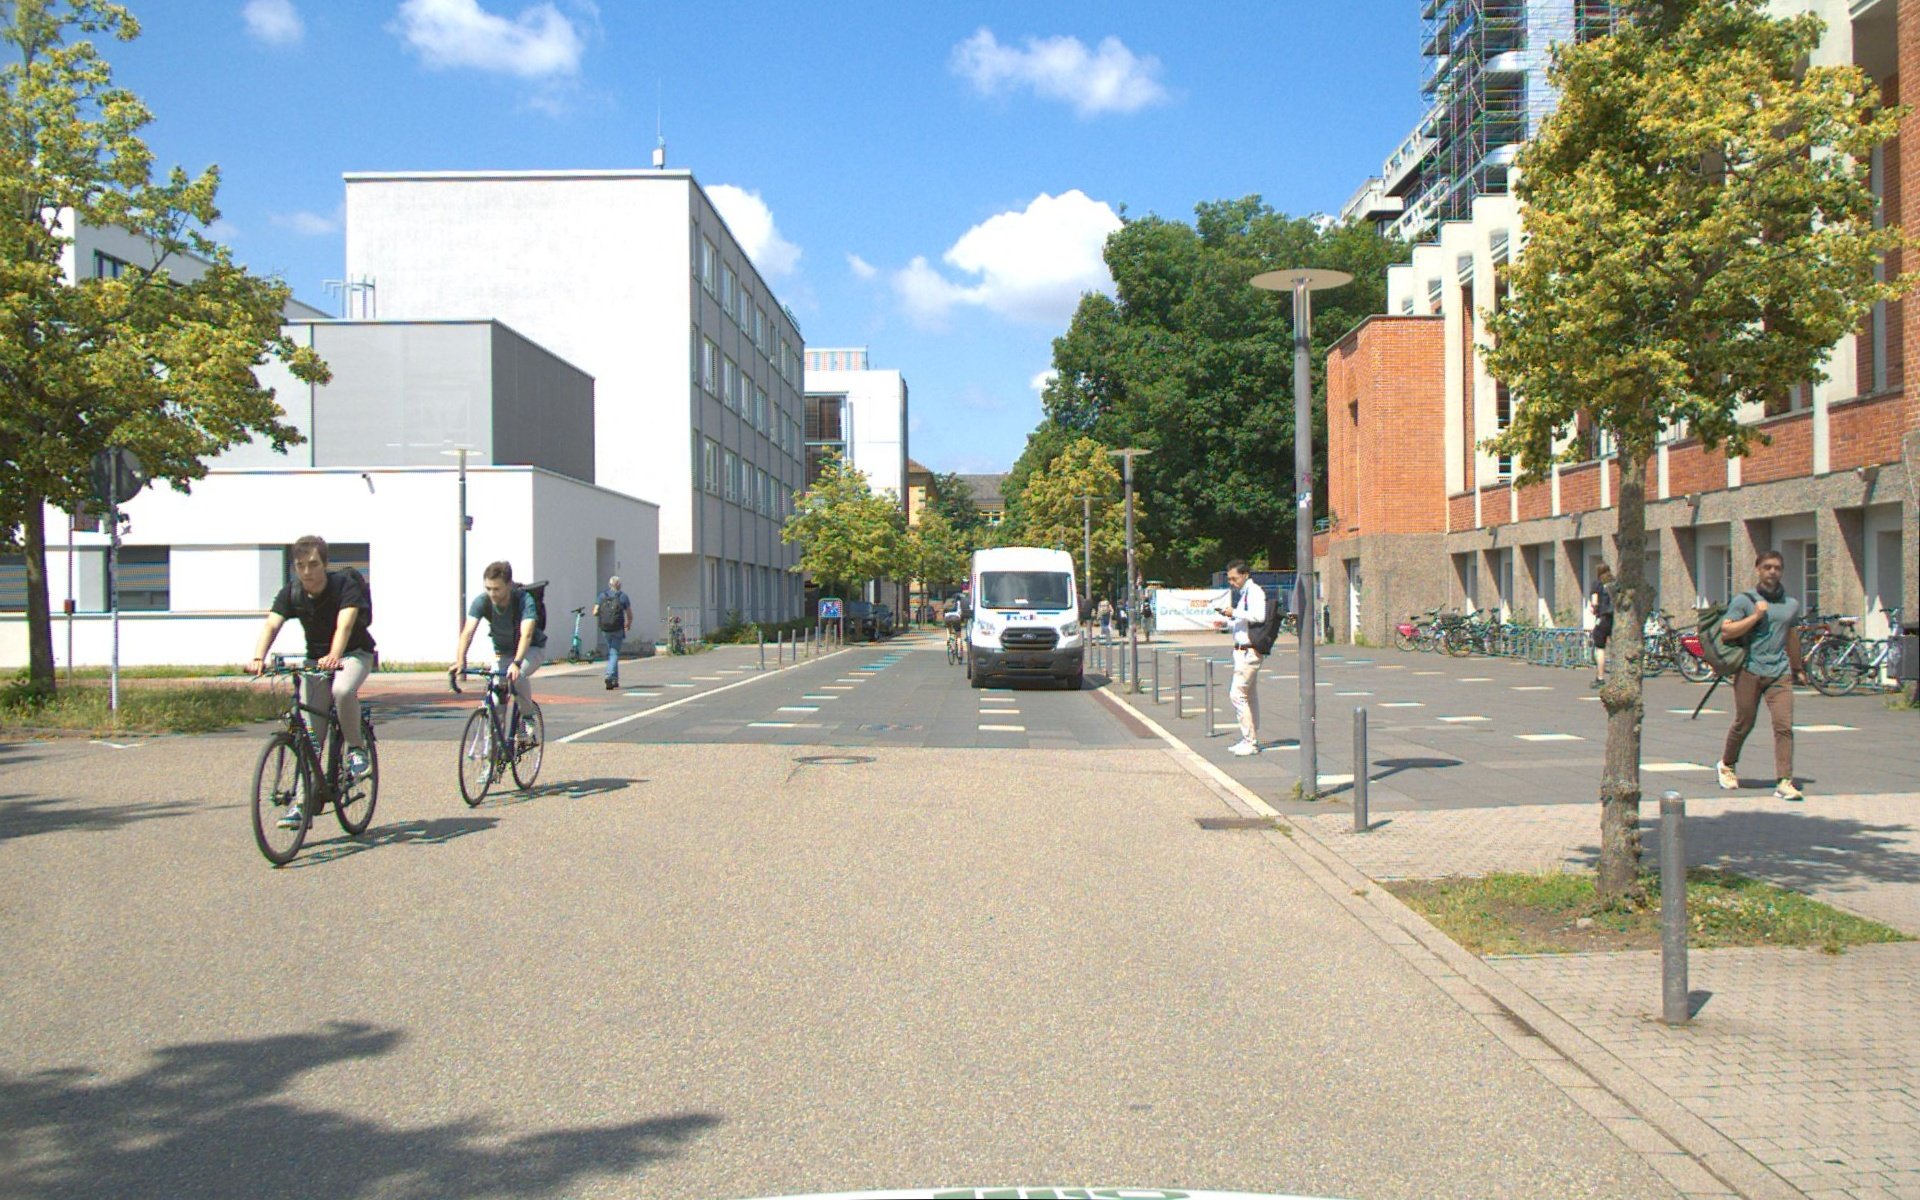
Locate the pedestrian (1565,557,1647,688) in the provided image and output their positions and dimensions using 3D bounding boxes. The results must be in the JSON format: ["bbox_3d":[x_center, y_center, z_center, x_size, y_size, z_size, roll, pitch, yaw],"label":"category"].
[{"bbox_3d":[9.599,0.322,24.608,0.773,1.892,1.116,-1,0,2],"label":"pedestrian"}]

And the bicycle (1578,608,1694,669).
[{"bbox_3d":[11.897,0.672,29.138,1.772,1.002,0.560,-2,0,0],"label":"bicycle"}]

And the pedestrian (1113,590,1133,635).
[{"bbox_3d":[6.819,0.520,69.227,0.773,1.892,1.026,-1,0,2],"label":"pedestrian"}]

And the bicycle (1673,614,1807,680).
[{"bbox_3d":[11.977,0.714,25.413,1.772,0.928,0.560,-2,0,0],"label":"bicycle"}]

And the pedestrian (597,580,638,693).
[{"bbox_3d":[-5.610,0.594,27.090,0.655,1.817,0.982,0,-2,-12],"label":"pedestrian"}]

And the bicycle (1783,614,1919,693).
[{"bbox_3d":[11.920,0.698,21.903,1.754,0.986,0.560,-2,0,0],"label":"bicycle"}]

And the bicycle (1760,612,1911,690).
[{"bbox_3d":[11.920,0.686,22.548,1.747,0.995,0.560,-2,0,-1],"label":"bicycle"}]

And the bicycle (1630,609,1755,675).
[{"bbox_3d":[12.022,0.681,27.177,1.772,1.002,0.560,-2,0,0],"label":"bicycle"}]

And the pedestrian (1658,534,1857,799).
[{"bbox_3d":[5.635,0.451,11.762,0.835,1.763,1.161,-2,0,4],"label":"pedestrian"}]

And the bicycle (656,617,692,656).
[{"bbox_3d":[-7.740,0.971,44.771,0.512,1.002,1.633,-2,0,5],"label":"bicycle"}]

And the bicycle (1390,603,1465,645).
[{"bbox_3d":[12.168,0.617,43.078,1.772,1.002,0.560,-2,0,0],"label":"bicycle"}]

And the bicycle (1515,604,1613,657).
[{"bbox_3d":[12.315,0.615,33.752,1.772,1.002,0.560,-2,0,0],"label":"bicycle"}]

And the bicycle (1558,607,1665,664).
[{"bbox_3d":[12.292,0.665,31.219,1.772,1.002,0.560,-2,0,0],"label":"bicycle"}]

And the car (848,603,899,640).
[{"bbox_3d":[-3.851,0.952,74.326,1.757,1.557,4.002,-1,0,5],"label":"car"}]

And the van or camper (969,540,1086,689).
[{"bbox_3d":[1.189,0.275,30.135,1.952,2.488,4.570,-1,-1,1],"label":"van or camper"}]

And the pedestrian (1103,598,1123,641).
[{"bbox_3d":[6.786,0.852,73.337,0.773,1.892,1.026,-1,0,2],"label":"pedestrian"}]

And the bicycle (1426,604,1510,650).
[{"bbox_3d":[11.994,0.638,39.073,1.772,1.002,0.560,-2,0,0],"label":"bicycle"}]

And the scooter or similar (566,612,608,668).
[{"bbox_3d":[-8.461,0.895,37.513,0.369,1.237,1.206,-1,0,17],"label":"scooter or similar"}]

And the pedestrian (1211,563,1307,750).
[{"bbox_3d":[2.901,0.541,16.118,0.688,1.724,0.962,-3,-1,1],"label":"pedestrian"}]

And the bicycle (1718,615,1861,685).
[{"bbox_3d":[12.024,0.719,24.009,1.772,0.928,0.560,-2,0,0],"label":"bicycle"}]

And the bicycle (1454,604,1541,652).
[{"bbox_3d":[12.180,0.633,37.512,1.772,1.002,0.560,-2,0,0],"label":"bicycle"}]

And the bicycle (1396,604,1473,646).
[{"bbox_3d":[12.084,0.626,42.116,1.772,1.002,0.560,-2,0,0],"label":"bicycle"}]

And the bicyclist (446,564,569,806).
[{"bbox_3d":[-3.310,0.592,12.178,0.654,1.711,0.992,0,1,-2],"label":"bicyclist"}]

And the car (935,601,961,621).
[{"bbox_3d":[-0.941,0.860,133.079,1.757,1.557,4.002,-1,0,5],"label":"car"}]

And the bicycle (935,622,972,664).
[{"bbox_3d":[-0.147,1.080,41.086,0.691,1.011,1.912,-1,-2,7],"label":"bicycle"}]

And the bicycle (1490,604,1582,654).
[{"bbox_3d":[12.460,0.628,35.817,1.772,1.002,0.560,-2,0,0],"label":"bicycle"}]

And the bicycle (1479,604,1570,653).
[{"bbox_3d":[12.386,0.621,36.314,1.772,1.002,0.560,-2,0,0],"label":"bicycle"}]

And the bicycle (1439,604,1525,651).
[{"bbox_3d":[12.070,0.634,38.244,1.772,1.002,0.560,-2,0,0],"label":"bicycle"}]

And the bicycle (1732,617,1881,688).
[{"bbox_3d":[11.835,0.729,23.154,1.772,0.928,0.560,-2,0,0],"label":"bicycle"}]

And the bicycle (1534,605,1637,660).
[{"bbox_3d":[12.289,0.635,32.515,1.772,1.002,0.560,-2,0,0],"label":"bicycle"}]

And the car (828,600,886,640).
[{"bbox_3d":[-4.123,0.792,66.881,1.757,1.557,4.002,-1,0,5],"label":"car"}]

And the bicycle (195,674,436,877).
[{"bbox_3d":[-3.707,0.967,9.703,0.663,0.981,2.002,0,0,-1],"label":"bicycle"}]

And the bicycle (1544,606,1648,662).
[{"bbox_3d":[12.267,0.649,31.928,1.772,1.002,0.560,-2,0,0],"label":"bicycle"}]

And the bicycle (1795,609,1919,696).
[{"bbox_3d":[11.620,0.669,21.223,1.503,1.051,0.560,-2,0,0],"label":"bicycle"}]

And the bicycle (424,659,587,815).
[{"bbox_3d":[-3.317,0.968,12.244,0.663,0.981,2.002,1,0,-1],"label":"bicycle"}]

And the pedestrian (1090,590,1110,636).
[{"bbox_3d":[5.887,0.546,69.609,0.773,1.892,1.243,-1,0,2],"label":"pedestrian"}]

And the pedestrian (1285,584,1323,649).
[{"bbox_3d":[10.245,0.482,49.257,0.834,1.892,1.116,-1,0,-1],"label":"pedestrian"}]

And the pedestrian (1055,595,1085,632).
[{"bbox_3d":[6.362,0.786,95.988,1.469,2.031,1.646,-4,1,-1],"label":"pedestrian"}]

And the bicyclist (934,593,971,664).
[{"bbox_3d":[-0.172,0.718,40.962,0.702,1.691,1.096,-3,-2,7],"label":"bicyclist"}]

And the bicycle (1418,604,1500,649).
[{"bbox_3d":[11.985,0.636,39.779,1.772,1.002,0.560,-2,0,0],"label":"bicycle"}]

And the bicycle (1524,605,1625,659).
[{"bbox_3d":[12.313,0.628,33.157,1.772,1.002,0.560,-2,0,0],"label":"bicycle"}]

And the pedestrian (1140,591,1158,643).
[{"bbox_3d":[6.994,0.619,61.150,0.564,1.892,0.569,-1,0,-1],"label":"pedestrian"}]

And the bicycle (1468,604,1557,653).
[{"bbox_3d":[12.314,0.632,36.903,1.772,1.002,0.560,-2,0,0],"label":"bicycle"}]

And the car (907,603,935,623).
[{"bbox_3d":[-3.140,1.002,133.298,1.757,1.557,4.002,-1,0,5],"label":"car"}]

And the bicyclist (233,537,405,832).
[{"bbox_3d":[-3.732,0.472,9.694,0.630,1.629,0.909,-2,0,-2],"label":"bicyclist"}]

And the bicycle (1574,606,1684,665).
[{"bbox_3d":[12.300,0.652,30.420,1.772,1.002,0.560,-2,0,0],"label":"bicycle"}]
